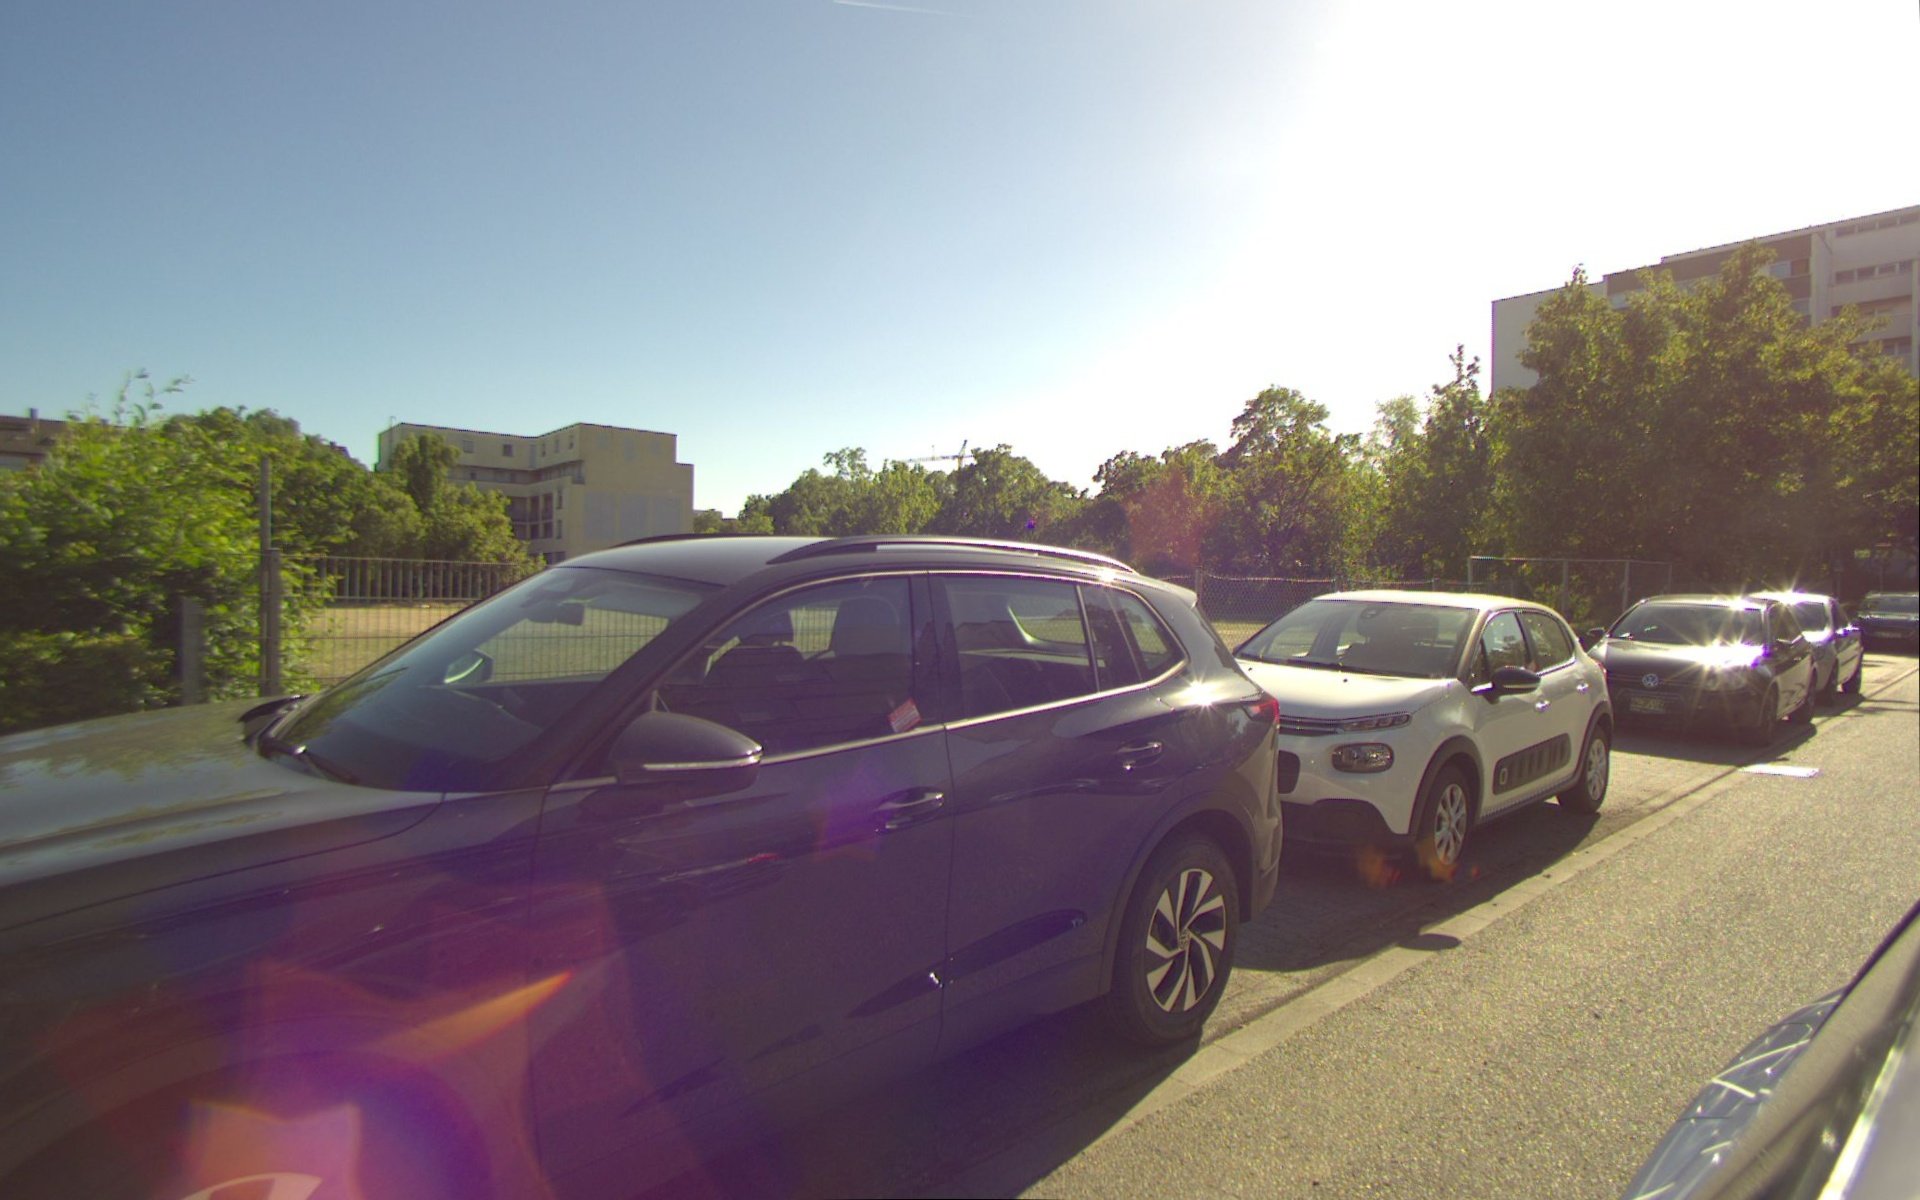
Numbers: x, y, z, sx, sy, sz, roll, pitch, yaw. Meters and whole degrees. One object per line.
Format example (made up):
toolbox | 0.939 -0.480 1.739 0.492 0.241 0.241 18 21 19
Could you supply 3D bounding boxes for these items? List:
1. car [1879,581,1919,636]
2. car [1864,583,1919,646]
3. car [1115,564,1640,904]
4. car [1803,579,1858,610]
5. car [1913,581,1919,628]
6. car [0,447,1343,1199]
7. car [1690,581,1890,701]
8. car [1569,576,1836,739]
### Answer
car | 27.932 0.209 29.081 3.998 1.490 1.827 -1 1 -41
car | 24.167 0.316 25.528 4.365 1.455 1.678 -1 1 -43
car | 2.871 0.630 6.557 3.782 1.561 1.682 1 0 -42
car | 46.250 -0.317 53.743 3.932 1.469 1.714 -2 2 -41
car | 32.744 0.099 33.287 4.019 1.469 1.622 -2 2 -40
car | -0.729 0.587 3.009 4.252 1.672 1.728 0 3 -43
car | 12.315 0.541 14.932 3.930 1.532 1.665 1 0 -41
car | 8.511 0.498 11.468 4.009 1.513 1.690 -1 1 -42
